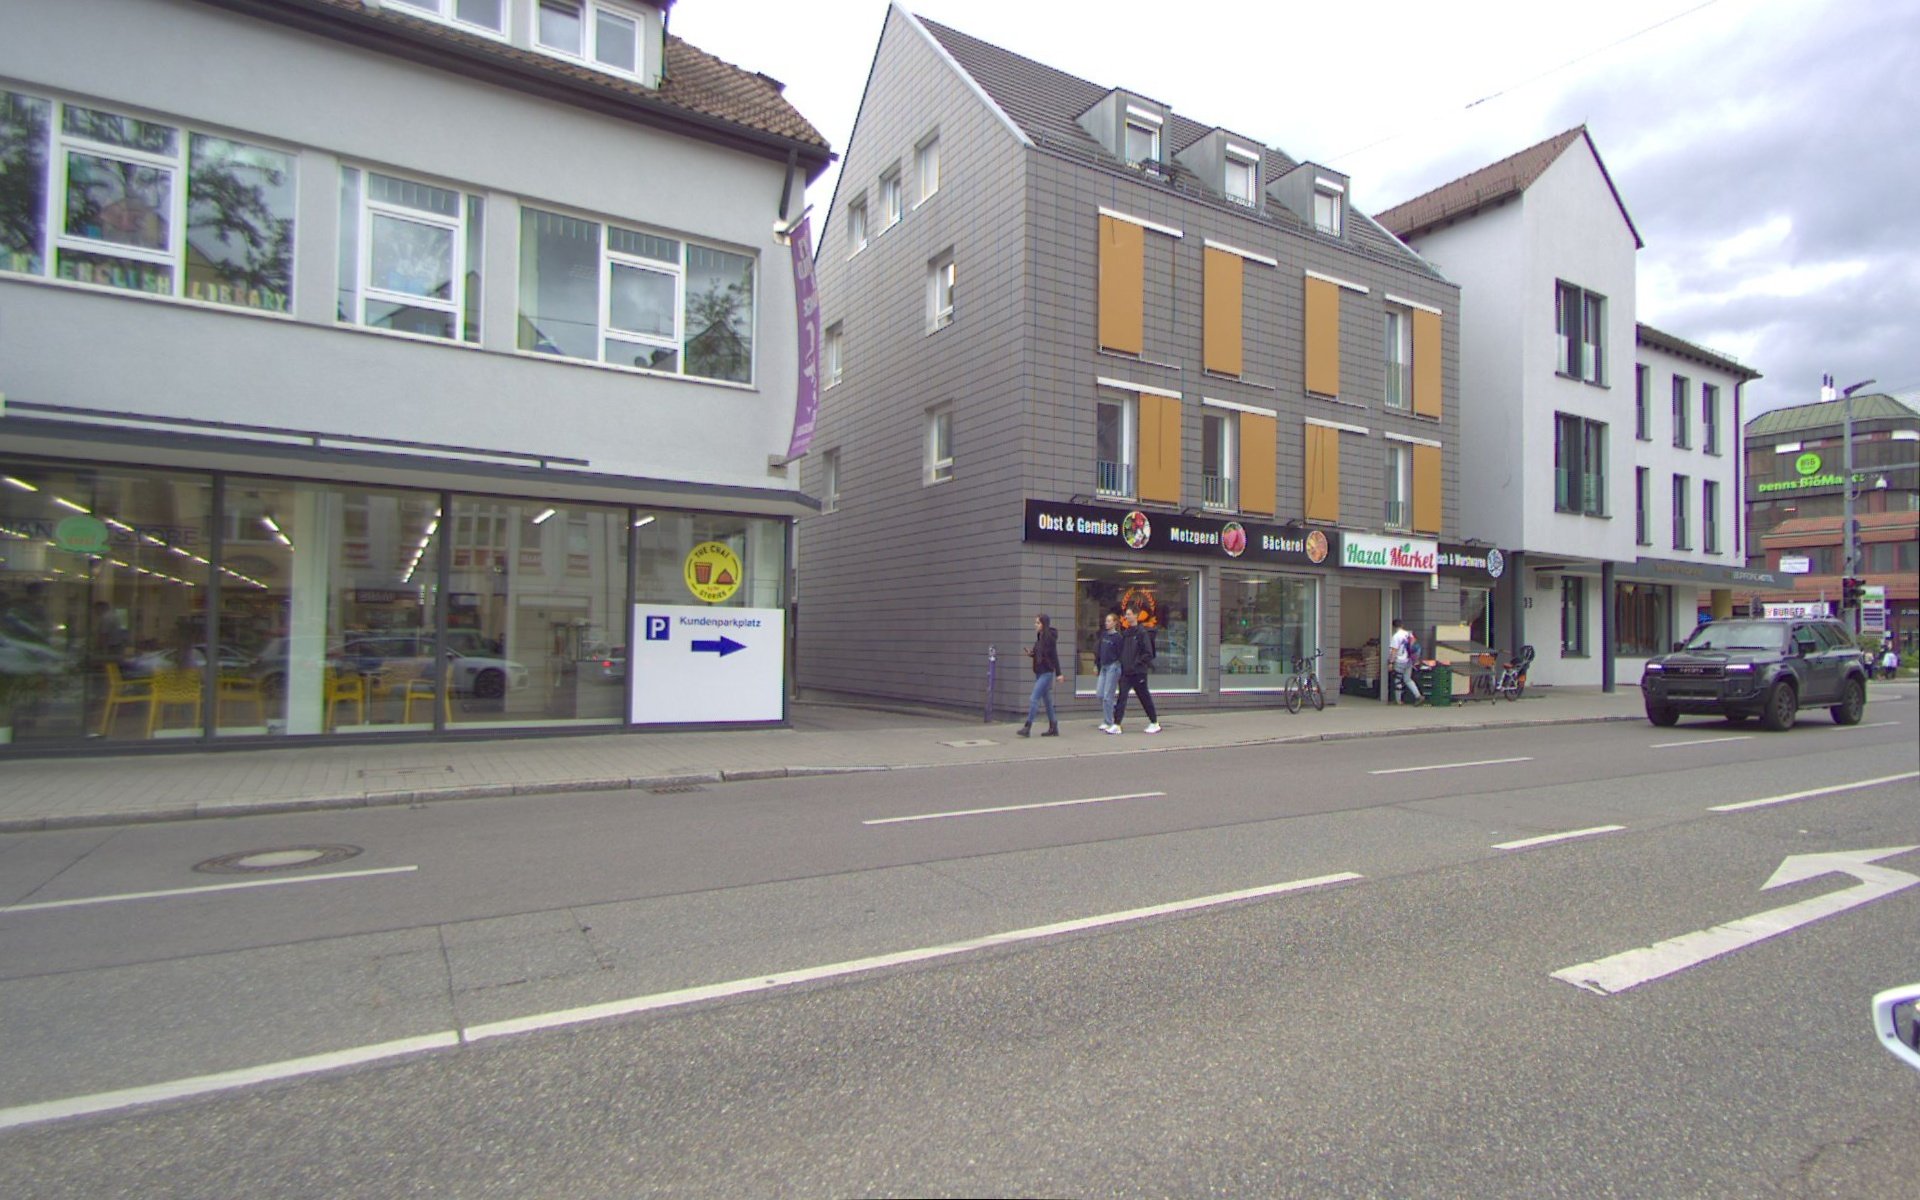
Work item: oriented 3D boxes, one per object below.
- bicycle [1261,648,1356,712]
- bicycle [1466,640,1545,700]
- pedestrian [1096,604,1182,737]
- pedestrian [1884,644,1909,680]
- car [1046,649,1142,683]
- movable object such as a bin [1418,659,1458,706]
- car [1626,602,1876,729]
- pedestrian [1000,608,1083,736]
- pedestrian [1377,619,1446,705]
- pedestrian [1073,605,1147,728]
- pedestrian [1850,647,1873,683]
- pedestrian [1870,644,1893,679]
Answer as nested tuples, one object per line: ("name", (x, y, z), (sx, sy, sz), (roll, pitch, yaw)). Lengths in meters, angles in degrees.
("bicycle", (6.419, 1.446, 18.451), (1.880, 1.115, 0.569), (1, -1, -30))
("bicycle", (11.983, 1.513, 22.053), (2.096, 1.248, 0.579), (2, -1, -32))
("pedestrian", (2.607, 1.001, 14.622), (1.015, 1.863, 0.704), (1, -2, -29))
("pedestrian", (42.676, 2.836, 45.770), (0.648, 1.609, 0.636), (1, -2, -29))
("car", (4.935, 2.439, 37.017), (3.307, 1.195, 1.391), (1, -5, -26))
("movable object such as a bin", (9.819, 1.685, 20.639), (0.501, 0.911, 0.548), (1, -1, -32))
("car", (14.037, 1.123, 17.766), (4.715, 1.994, 1.914), (2, -3, -31))
("pedestrian", (1.130, 0.987, 14.040), (0.859, 1.720, 0.800), (1, -2, -29))
("pedestrian", (9.094, 1.231, 20.246), (0.960, 1.665, 0.883), (1, -1, -30))
("pedestrian", (2.288, 0.993, 15.304), (0.859, 1.805, 0.704), (1, -2, -29))
("pedestrian", (41.017, 2.929, 45.697), (0.519, 1.609, 0.636), (1, -2, -29))
("pedestrian", (42.802, 2.846, 46.656), (0.519, 1.609, 0.636), (1, -2, -29))
